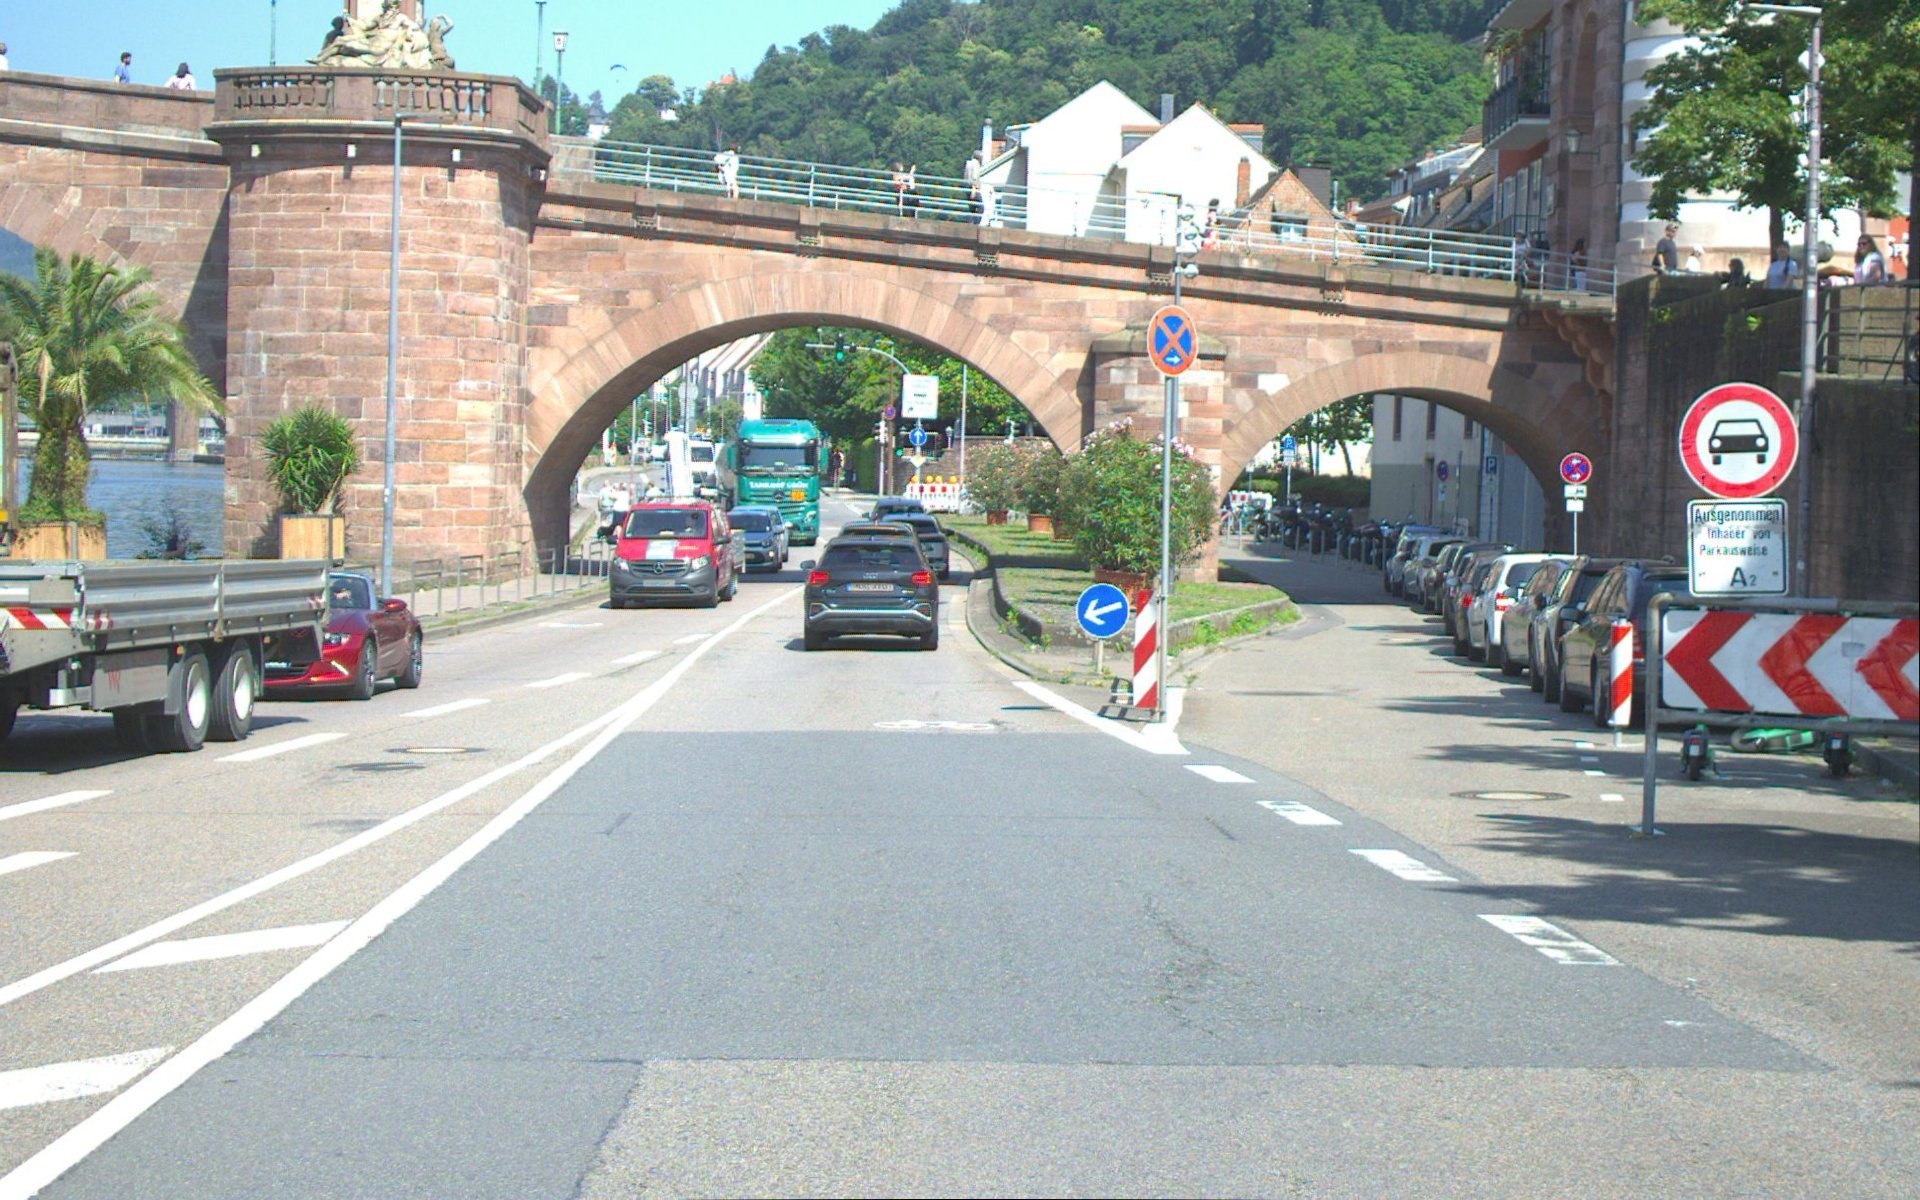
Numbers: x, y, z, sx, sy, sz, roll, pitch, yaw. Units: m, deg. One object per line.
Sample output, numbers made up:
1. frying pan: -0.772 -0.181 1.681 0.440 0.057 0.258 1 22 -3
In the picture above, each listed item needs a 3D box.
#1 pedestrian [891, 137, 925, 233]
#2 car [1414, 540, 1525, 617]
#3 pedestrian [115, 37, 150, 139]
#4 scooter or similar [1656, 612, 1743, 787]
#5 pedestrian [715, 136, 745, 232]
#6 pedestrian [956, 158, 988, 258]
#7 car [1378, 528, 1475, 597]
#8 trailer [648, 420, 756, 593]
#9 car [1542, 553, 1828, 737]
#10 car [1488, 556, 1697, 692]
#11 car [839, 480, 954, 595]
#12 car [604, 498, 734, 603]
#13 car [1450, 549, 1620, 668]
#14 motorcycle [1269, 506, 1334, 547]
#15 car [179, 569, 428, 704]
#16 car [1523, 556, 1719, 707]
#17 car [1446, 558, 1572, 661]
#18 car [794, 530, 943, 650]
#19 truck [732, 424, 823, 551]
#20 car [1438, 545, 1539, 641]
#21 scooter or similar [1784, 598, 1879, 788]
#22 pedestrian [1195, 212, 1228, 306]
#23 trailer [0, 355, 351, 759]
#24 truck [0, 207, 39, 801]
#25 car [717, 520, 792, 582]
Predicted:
1. pedestrian: -1.111 -8.923 73.941 0.684 2.007 0.586 1 1 1
2. car: 10.420 -0.468 70.558 1.775 1.432 4.492 1 2 3
3. pedestrian: -17.221 -10.652 71.536 0.623 2.007 0.695 1 1 -6
4. scooter or similar: 4.901 0.638 22.740 0.532 1.086 1.438 1 1 13
5. pedestrian: -4.961 -8.973 74.130 0.581 2.007 0.586 1 1 1
6. pedestrian: 0.240 -8.090 71.023 0.623 2.007 0.695 1 1 1
7. car: 10.859 -0.900 80.288 1.893 1.487 4.416 1 2 3
8. trailer: -5.069 -1.841 67.830 1.742 3.309 3.384 0 2 2
9. car: 6.380 0.342 30.725 1.843 1.445 4.534 2 1 4
10. car: 7.357 0.238 40.401 1.754 1.427 4.756 1 1 3
11. car: -1.123 -1.145 62.576 1.993 2.007 4.000 1 1 0
12. car: -5.253 -0.938 62.530 1.874 1.821 4.544 0 2 1
13. car: 7.574 0.079 45.534 1.711 1.452 3.547 1 1 2
14. motorcycle: 10.829 -2.326 109.060 2.191 1.262 0.628 -1 3 -37
15. car: -6.343 0.321 33.550 1.671 1.190 3.629 0 1 1
16. car: 6.775 0.284 35.534 1.612 1.408 3.903 2 1 6
17. car: 7.890 0.100 49.534 1.711 1.383 4.406 0 1 9
18. car: -1.199 -0.166 46.604 1.857 1.518 4.000 1 1 1
19. truck: -5.496 -3.480 104.490 2.523 3.735 6.247 0 3 -1
20. car: 9.098 -0.150 59.001 1.591 1.515 3.902 2 2 10
21. scooter or similar: 5.940 0.615 23.405 0.532 1.226 1.270 1 1 18
22. pedestrian: 5.557 -7.531 75.970 0.684 2.007 0.586 1 1 1
23. trailer: -6.598 -0.305 25.029 2.698 2.522 6.946 0 1 4
24. truck: -7.091 -0.501 16.754 2.642 3.445 7.870 0 1 4
25. car: -4.951 -1.198 83.288 1.535 1.432 3.728 0 2 1
